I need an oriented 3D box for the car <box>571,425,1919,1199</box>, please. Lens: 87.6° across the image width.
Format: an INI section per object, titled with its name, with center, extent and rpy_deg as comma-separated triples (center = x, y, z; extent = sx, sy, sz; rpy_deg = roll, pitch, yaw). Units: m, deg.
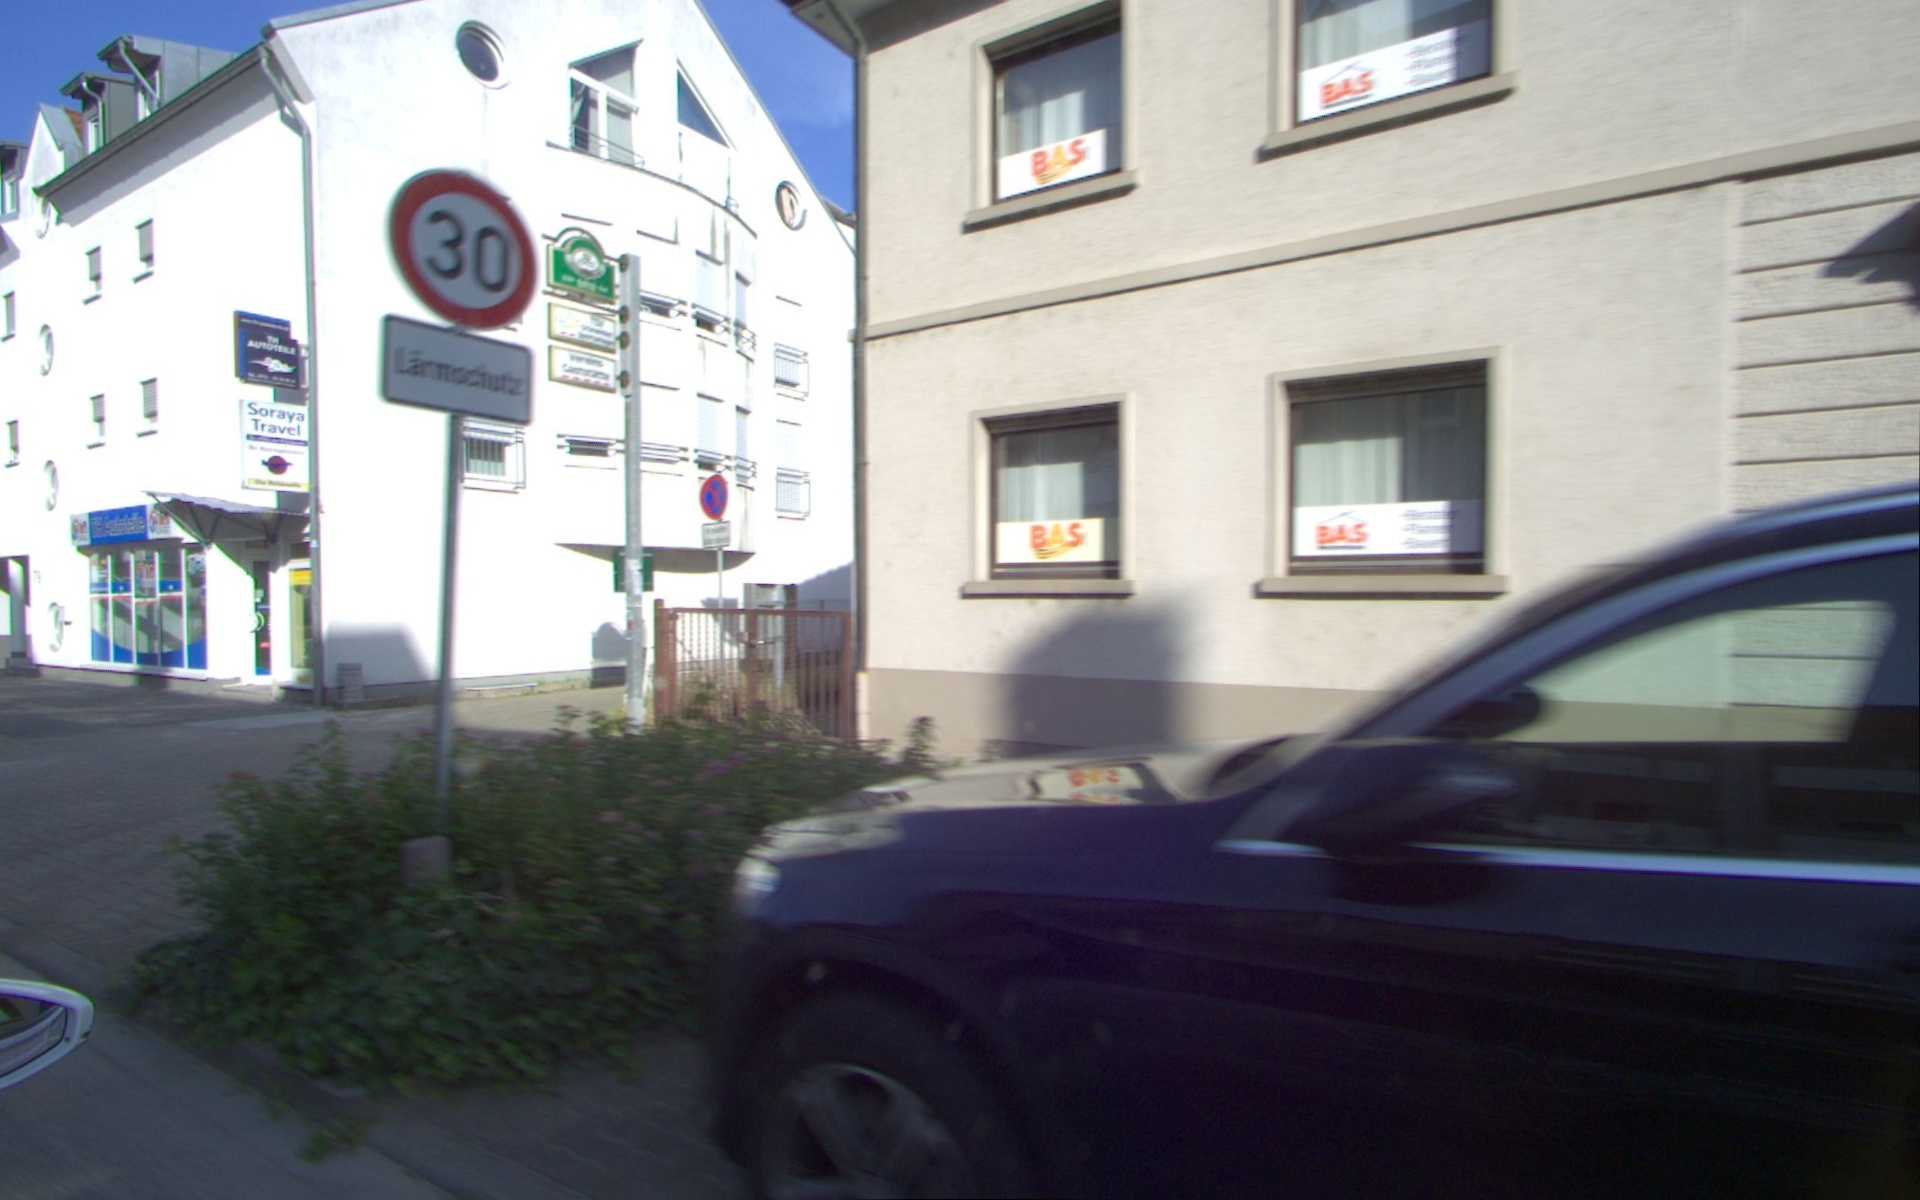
[car]
center = 1.450, 0.635, 1.848
extent = 4.400, 1.652, 1.825
rpy_deg = 0, 1, 33
